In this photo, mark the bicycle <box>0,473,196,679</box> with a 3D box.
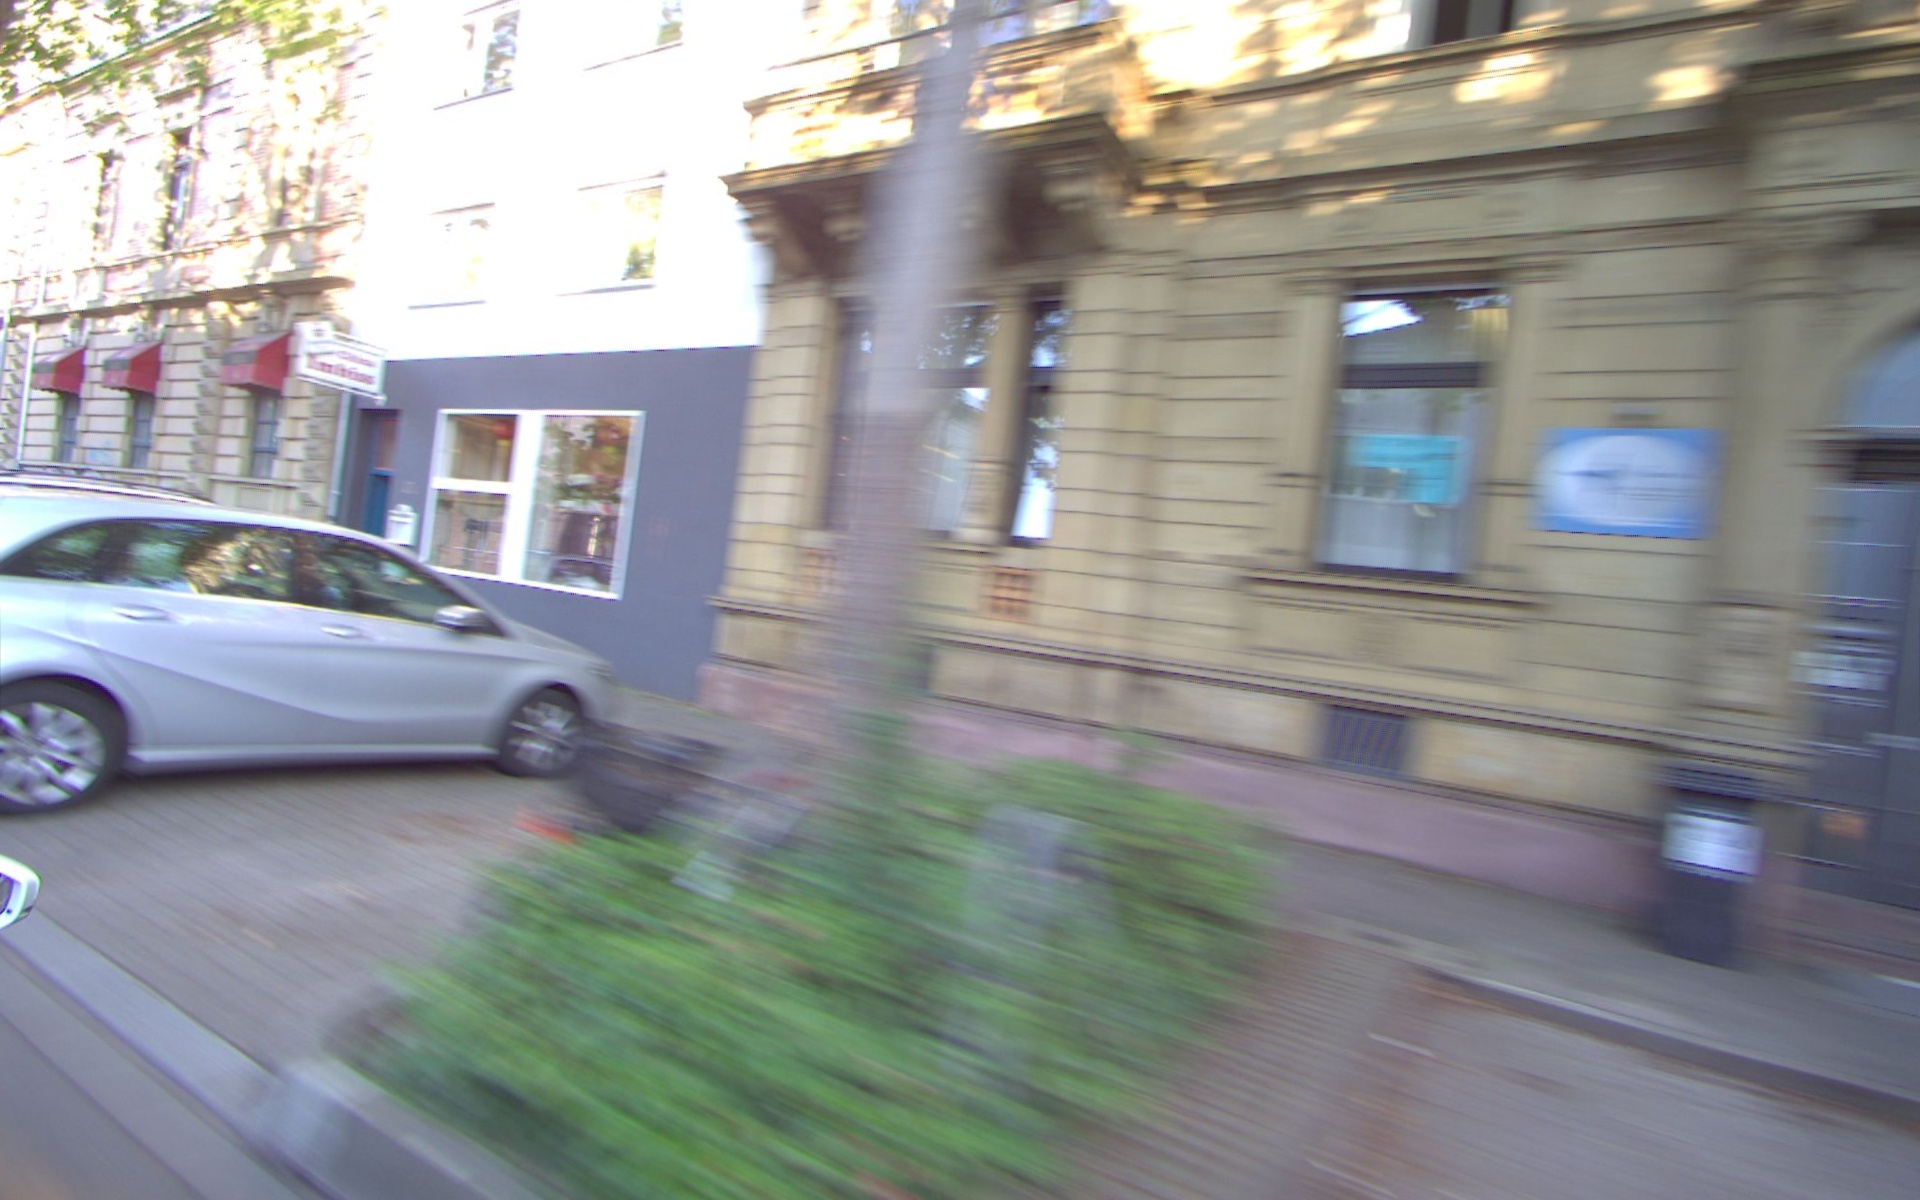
[{"bbox_3d":[-8.394,-0.261,8.365,0.647,1.682,3.123,7,-2,27],"label":"bicycle"}]

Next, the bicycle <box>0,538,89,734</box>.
[{"bbox_3d":[-6.371,0.194,6.213,0.480,1.219,1.339,7,0,30],"label":"bicycle"}]

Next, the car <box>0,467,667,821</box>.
[{"bbox_3d":[-4.228,0.228,6.260,1.939,1.579,4.228,8,0,34],"label":"car"}]

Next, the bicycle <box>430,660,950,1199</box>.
[{"bbox_3d":[-0.656,0.857,3.272,0.479,1.219,2.025,7,1,19],"label":"bicycle"}]

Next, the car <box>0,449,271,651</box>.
[{"bbox_3d":[-10.309,-0.615,10.577,1.917,1.938,4.549,7,0,29],"label":"car"}]

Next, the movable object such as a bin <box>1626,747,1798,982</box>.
[{"bbox_3d":[4.153,1.426,5.607,0.604,1.077,0.658,6,0,31],"label":"movable object such as a bin"}]
